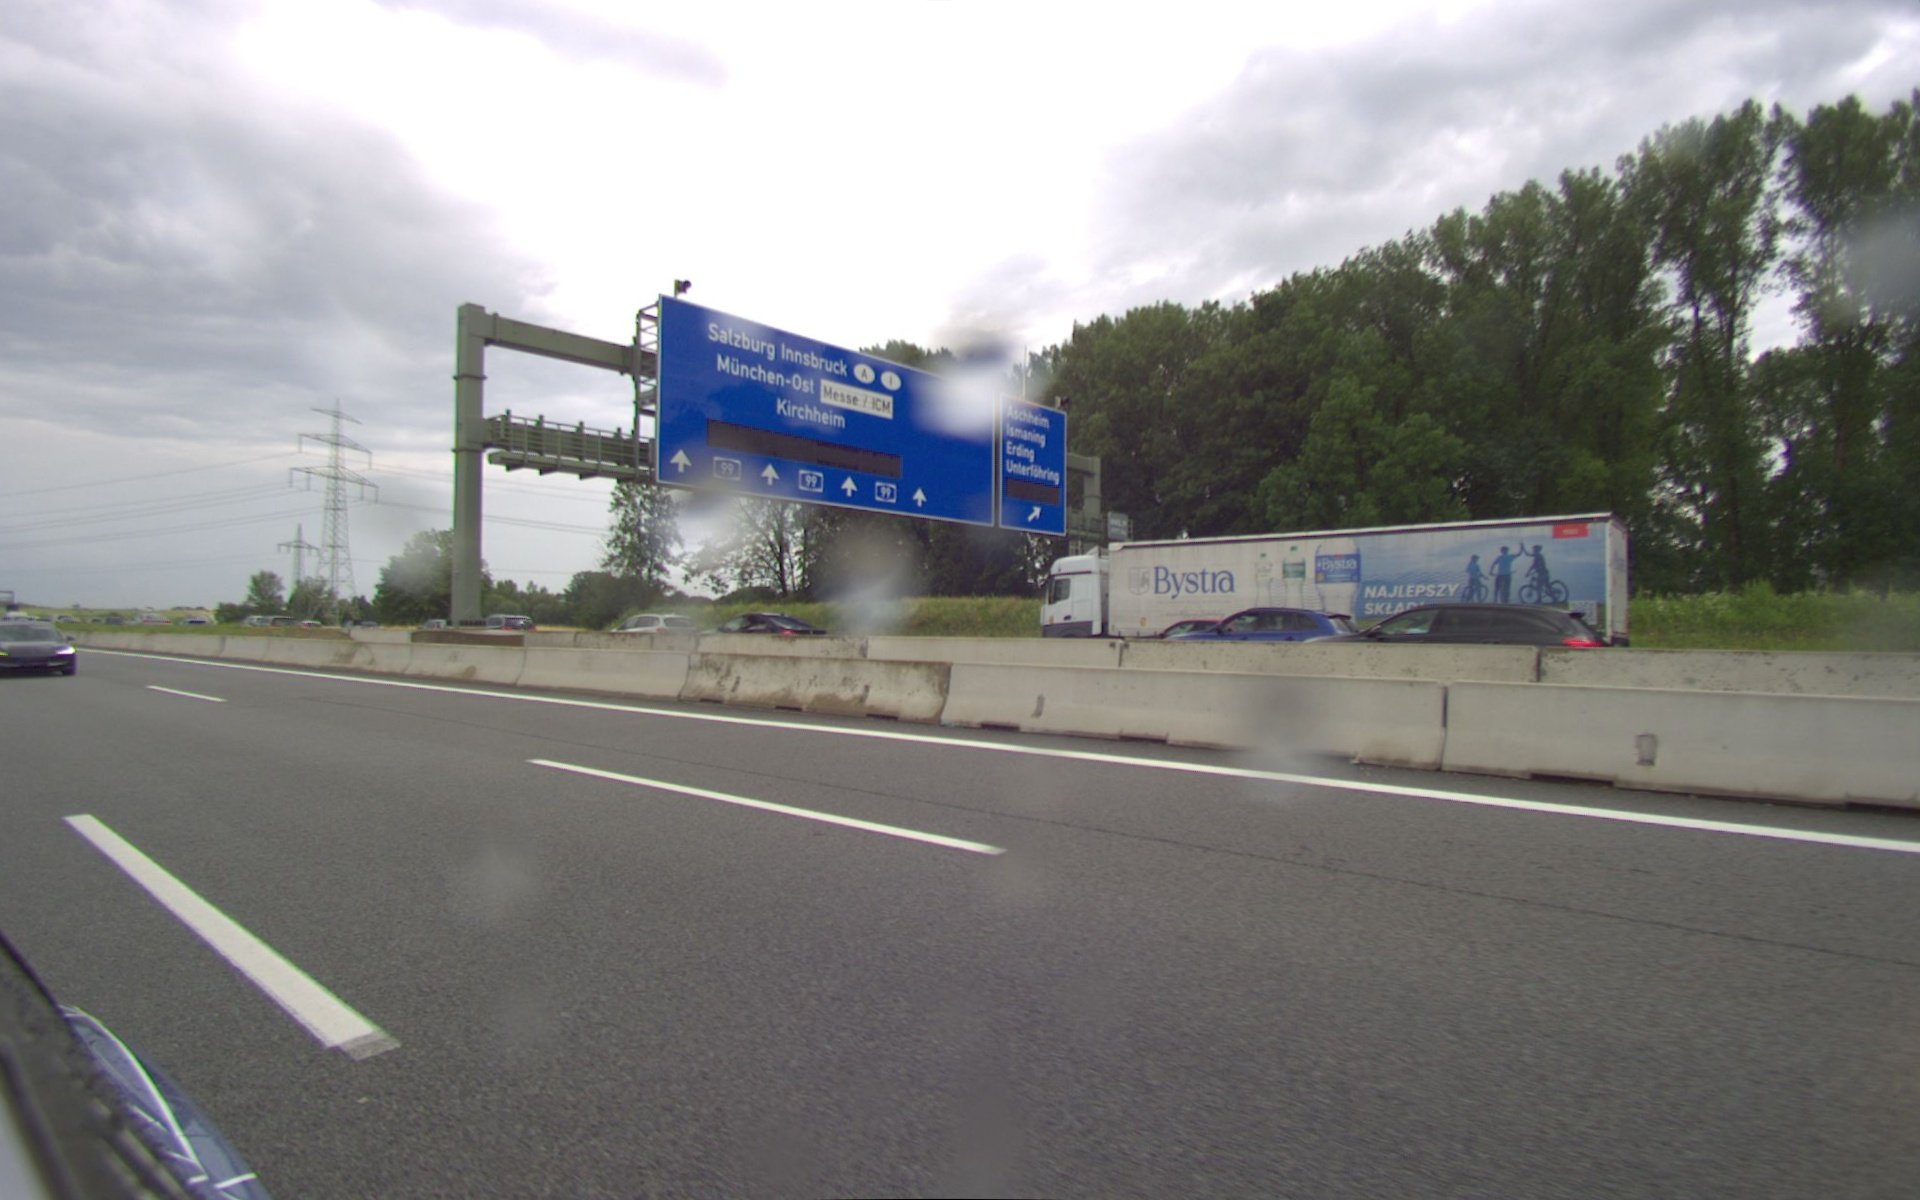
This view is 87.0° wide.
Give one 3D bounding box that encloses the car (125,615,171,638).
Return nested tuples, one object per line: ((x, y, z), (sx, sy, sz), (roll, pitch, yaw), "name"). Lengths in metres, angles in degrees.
((-61.156, 2.008, 76.218), (4.496, 1.710, 1.764), (-2, -1, 38), "car")

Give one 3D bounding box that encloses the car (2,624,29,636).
((-110.900, 3.545, 118.820), (3.997, 1.422, 1.801), (-2, -1, 40), "car")

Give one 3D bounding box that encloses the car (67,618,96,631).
((-94.989, 2.672, 109.458), (3.997, 1.422, 1.801), (-2, -1, 40), "car")

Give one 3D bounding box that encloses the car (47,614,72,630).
((-110.440, 2.658, 124.129), (3.997, 1.922, 1.801), (-2, -1, 40), "car")

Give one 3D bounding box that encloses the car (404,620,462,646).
((-31.907, 1.983, 61.238), (4.015, 1.509, 1.736), (-2, -1, 41), "car")

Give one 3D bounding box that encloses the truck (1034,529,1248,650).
((5.793, -0.243, 32.847), (6.096, 3.534, 3.103), (-2, -1, 41), "truck")

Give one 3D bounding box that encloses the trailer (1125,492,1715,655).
((11.591, -0.418, 27.791), (14.444, 3.534, 3.077), (-2, -1, 41), "trailer")

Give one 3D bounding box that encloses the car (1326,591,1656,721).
((7.772, 0.763, 14.999), (3.998, 1.670, 1.849), (-2, -1, 41), "car")

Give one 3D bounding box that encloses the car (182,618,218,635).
((-62.607, 2.186, 83.308), (3.753, 1.422, 1.618), (-2, -1, 41), "car")

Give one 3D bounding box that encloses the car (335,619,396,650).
((-35.127, 2.040, 59.781), (4.015, 1.740, 1.973), (-2, -1, 41), "car")

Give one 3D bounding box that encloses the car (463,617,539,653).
((-23.163, 1.744, 51.035), (4.015, 1.740, 1.973), (-2, -1, 41), "car")

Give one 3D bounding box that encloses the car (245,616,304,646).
((-38.542, 1.753, 56.901), (3.997, 1.627, 1.779), (-2, -1, 41), "car")

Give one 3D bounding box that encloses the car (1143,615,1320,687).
((7.015, 1.282, 26.334), (3.998, 1.719, 1.973), (-2, -1, 41), "car")

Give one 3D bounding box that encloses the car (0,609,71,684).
((-25.178, 1.192, 26.840), (5.164, 1.834, 1.971), (-2, -1, 44), "car")

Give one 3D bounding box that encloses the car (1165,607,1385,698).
((6.648, 1.053, 21.544), (4.015, 1.740, 1.973), (-2, -1, 41), "car")

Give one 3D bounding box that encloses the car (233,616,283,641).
((-50.085, 2.036, 72.224), (4.347, 1.710, 1.764), (-2, -1, 38), "car")

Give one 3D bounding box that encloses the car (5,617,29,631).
((-141.434, 3.581, 151.794), (4.949, 1.985, 2.051), (-2, -1, 40), "car")

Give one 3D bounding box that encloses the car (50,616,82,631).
((-86.695, 2.287, 98.096), (3.997, 1.422, 1.801), (-2, -1, 40), "car")

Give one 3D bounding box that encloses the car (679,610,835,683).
((-5.383, 1.177, 26.573), (4.015, 1.740, 1.973), (-2, -1, 41), "car")

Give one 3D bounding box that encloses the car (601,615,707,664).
((-11.553, 1.464, 38.092), (4.015, 1.740, 1.973), (-2, -1, 41), "car")

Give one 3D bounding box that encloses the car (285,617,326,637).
((-56.856, 2.370, 87.901), (4.347, 1.710, 1.764), (-2, -1, 38), "car")

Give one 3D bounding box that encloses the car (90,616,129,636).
((-72.611, 2.232, 86.370), (4.347, 1.625, 1.764), (-2, -1, 38), "car")
